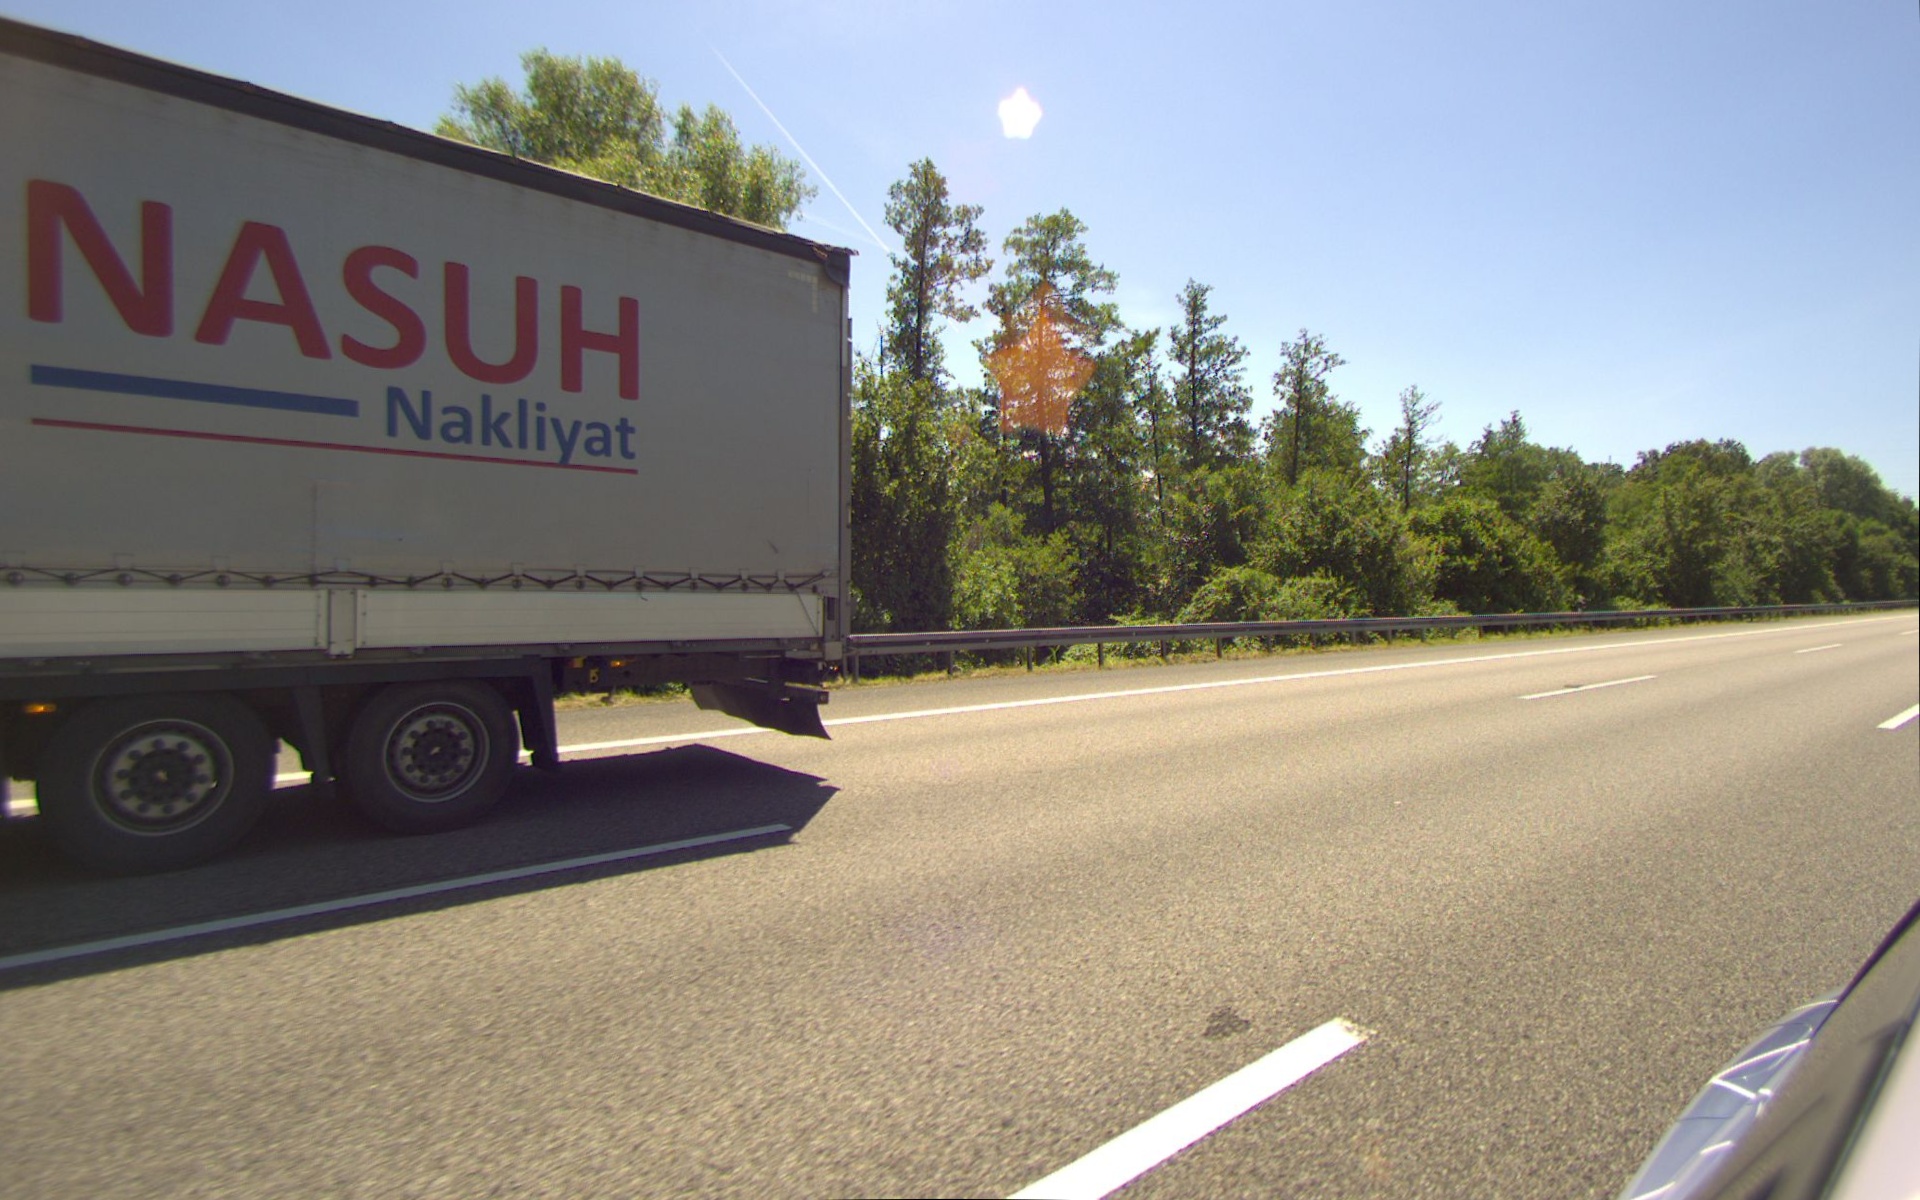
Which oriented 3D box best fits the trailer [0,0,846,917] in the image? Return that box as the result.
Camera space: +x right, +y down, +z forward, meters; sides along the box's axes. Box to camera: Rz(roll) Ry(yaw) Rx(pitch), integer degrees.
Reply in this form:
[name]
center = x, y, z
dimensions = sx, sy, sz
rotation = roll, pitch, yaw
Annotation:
[trailer]
center = -6.955, -0.663, 4.240
dimensions = 13.816, 4.314, 2.628
rotation = -1, 0, -41
